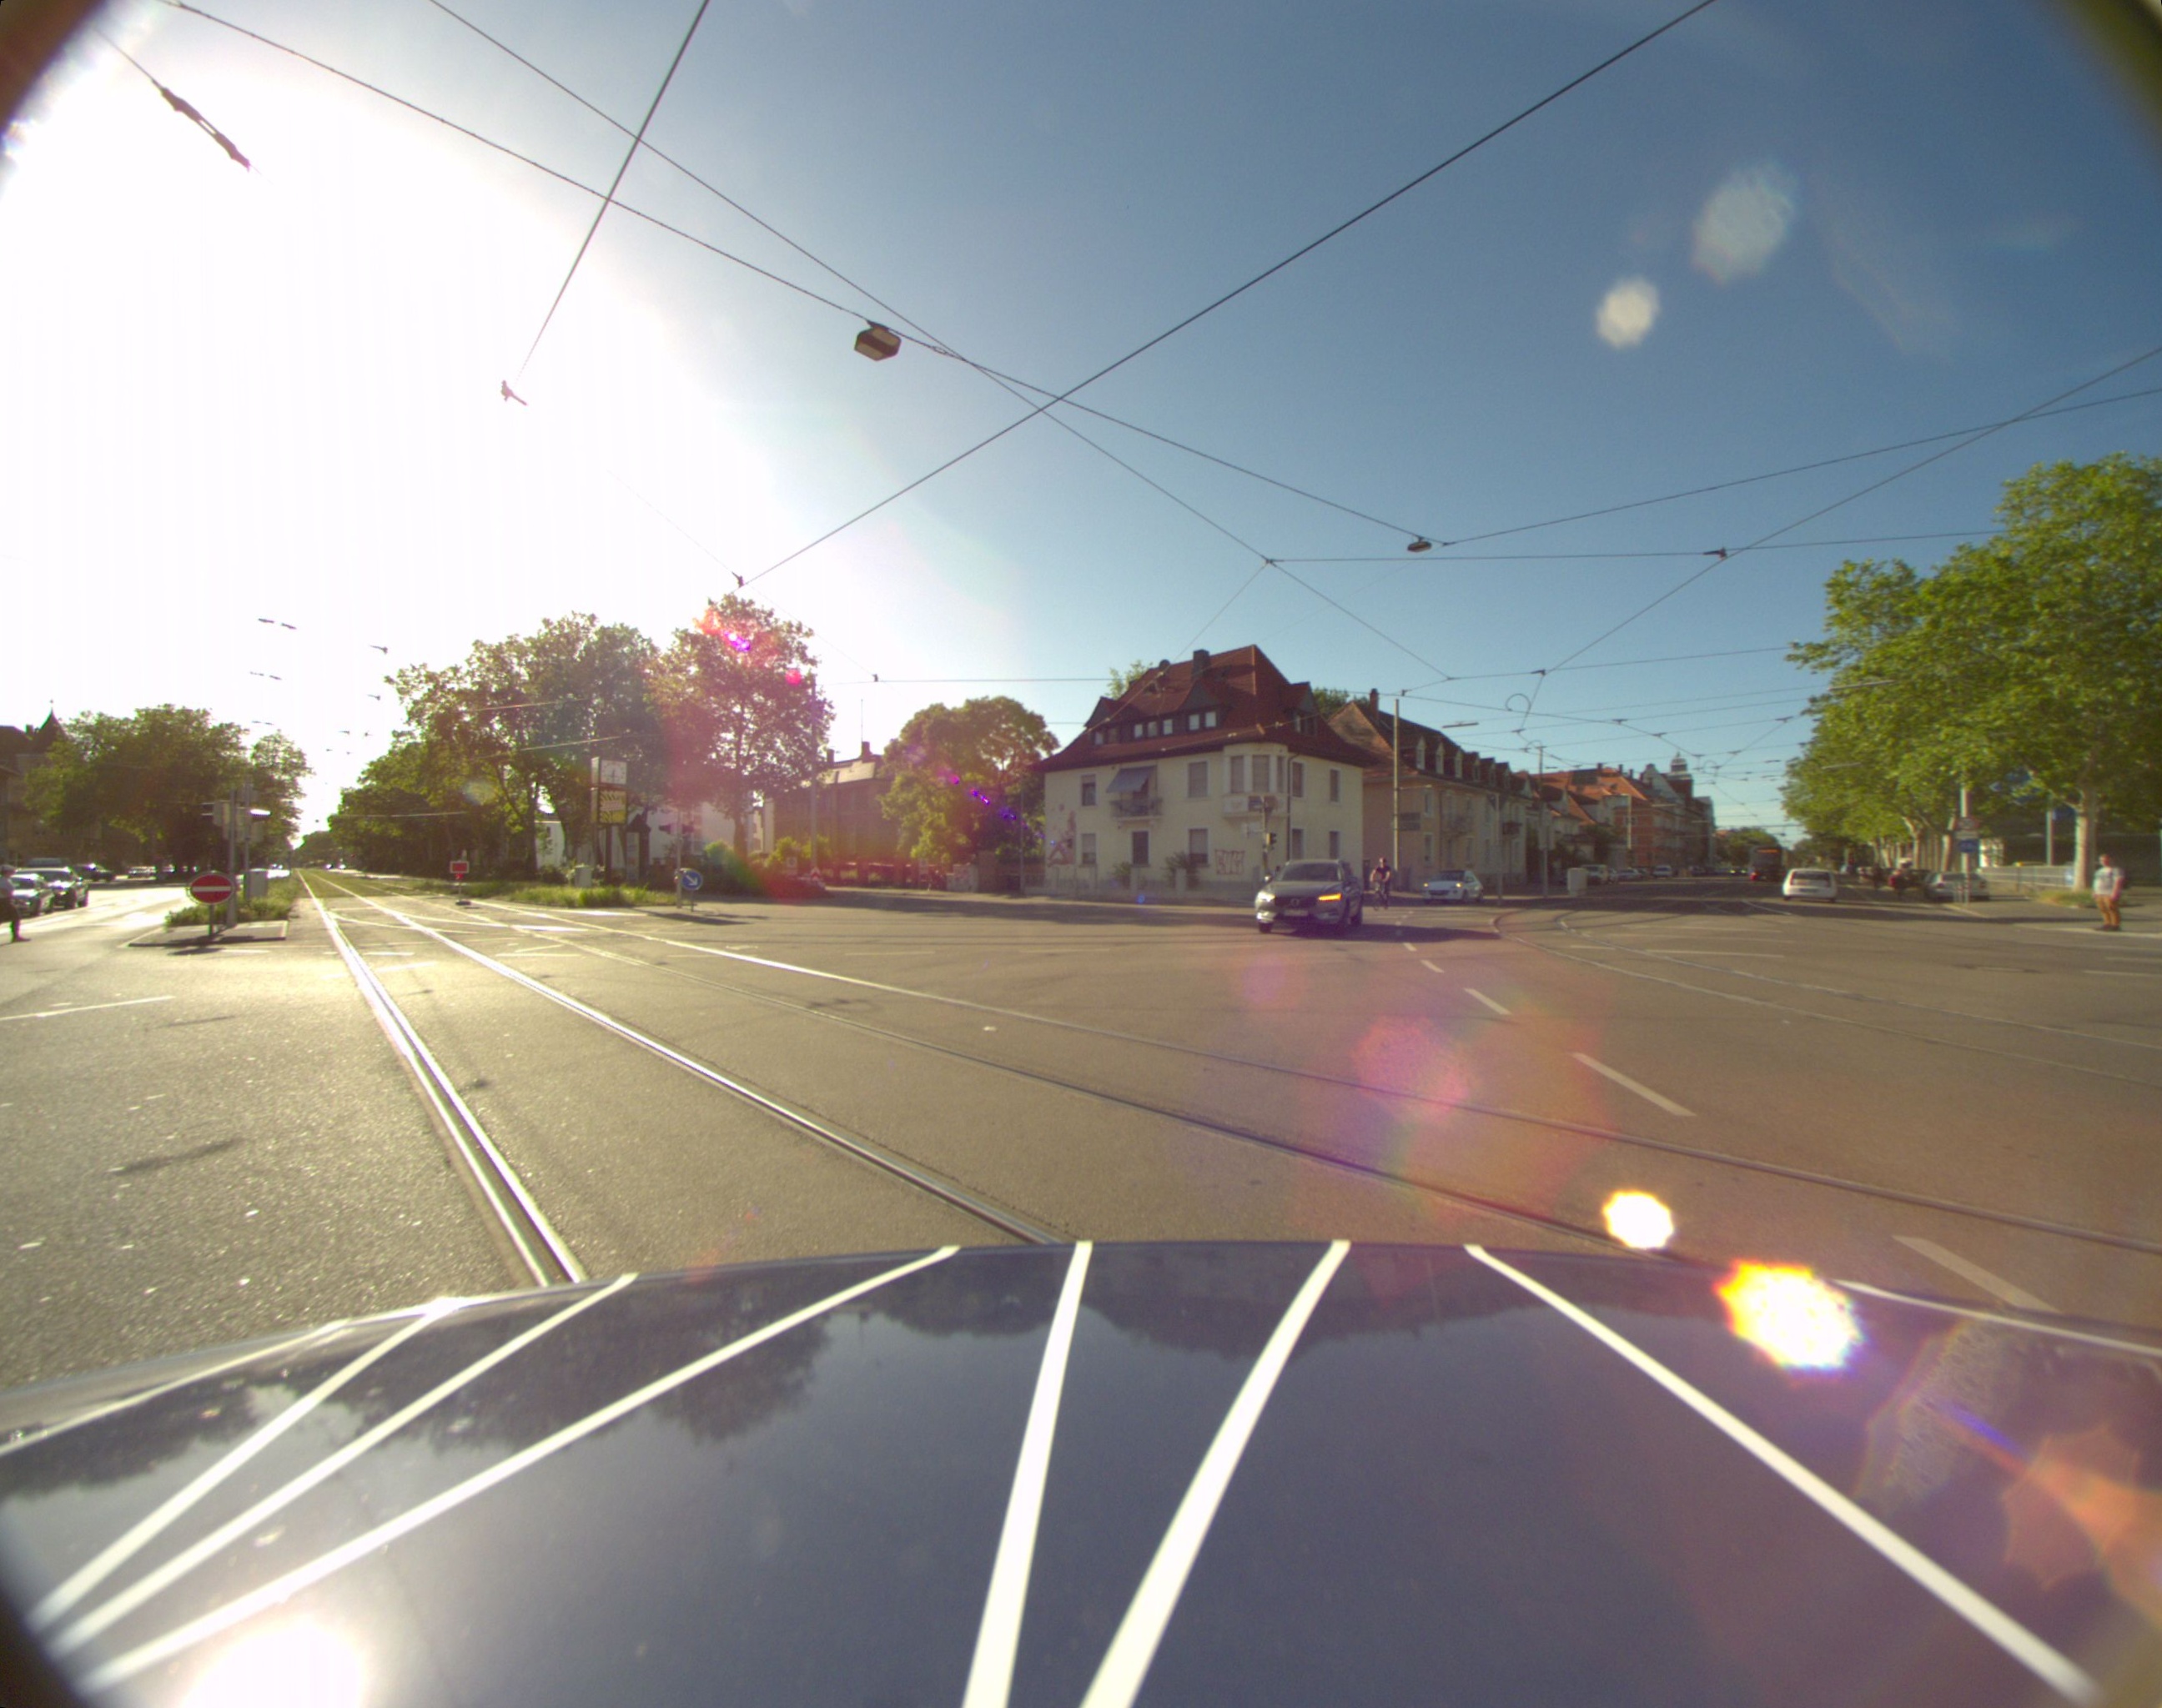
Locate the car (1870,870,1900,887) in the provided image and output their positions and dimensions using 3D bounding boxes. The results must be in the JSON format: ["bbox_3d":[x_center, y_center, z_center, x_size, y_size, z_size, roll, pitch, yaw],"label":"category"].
[{"bbox_3d":[78.073,2.371,73.824,4.009,1.566,1.878,1,0,-44],"label":"car"}]

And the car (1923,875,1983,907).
[{"bbox_3d":[41.889,1.758,36.557,3.546,1.416,1.776,1,-3,-42],"label":"car"}]

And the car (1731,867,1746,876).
[{"bbox_3d":[110.866,2.980,128.111,1.878,1.477,4.009,0,0,43],"label":"car"}]

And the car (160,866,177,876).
[{"bbox_3d":[-167.872,3.146,139.825,3.988,1.821,1.959,0,0,40],"label":"car"}]

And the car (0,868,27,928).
[{"bbox_3d":[-32.037,1.240,21.565,3.988,1.658,1.959,0,0,44],"label":"car"}]

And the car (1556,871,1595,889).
[{"bbox_3d":[43.290,2.242,66.477,4.009,1.477,1.878,1,0,-42],"label":"car"}]

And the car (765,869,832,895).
[{"bbox_3d":[-17.245,1.662,46.229,4.489,1.445,1.923,0,0,41],"label":"car"}]

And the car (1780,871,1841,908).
[{"bbox_3d":[32.352,1.534,33.779,1.718,1.488,3.591,0,0,40],"label":"car"}]

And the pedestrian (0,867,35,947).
[{"bbox_3d":[-23.000,1.120,16.107,0.715,1.659,0.941,0,0,38],"label":"pedestrian"}]

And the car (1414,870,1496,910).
[{"bbox_3d":[16.688,1.543,33.804,1.913,1.621,4.513,0,0,45],"label":"car"}]

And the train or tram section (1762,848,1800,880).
[{"bbox_3d":[84.860,1.183,92.057,3.056,3.591,12.141,0,0,44],"label":"train or tram section"}]

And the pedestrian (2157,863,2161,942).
[{"bbox_3d":[24.754,1.094,16.932,0.742,1.790,0.741,0,0,-21],"label":"pedestrian"}]

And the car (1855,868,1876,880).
[{"bbox_3d":[101.876,2.569,98.649,4.009,1.542,1.878,1,0,-44],"label":"car"}]

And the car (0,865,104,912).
[{"bbox_3d":[-40.116,1.266,29.654,4.474,1.658,1.959,0,0,44],"label":"car"}]

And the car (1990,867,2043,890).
[{"bbox_3d":[62.727,1.604,50.991,4.009,1.477,1.878,1,0,-44],"label":"car"}]

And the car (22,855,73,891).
[{"bbox_3d":[-88.042,1.556,64.798,5.941,2.891,2.207,0,0,40],"label":"car"}]

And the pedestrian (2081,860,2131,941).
[{"bbox_3d":[24.853,1.097,18.438,0.629,1.914,0.585,0,0,44],"label":"pedestrian"}]

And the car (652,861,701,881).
[{"bbox_3d":[-32.281,1.324,60.601,4.489,1.445,1.923,0,0,41],"label":"car"}]

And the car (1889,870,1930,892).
[{"bbox_3d":[60.465,1.945,55.475,4.009,1.477,1.878,1,0,-44],"label":"car"}]

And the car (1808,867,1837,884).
[{"bbox_3d":[71.118,2.045,72.867,4.009,1.477,1.878,1,0,-44],"label":"car"}]

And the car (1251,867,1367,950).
[{"bbox_3d":[5.457,1.140,17.788,1.914,1.621,4.511,0,0,26],"label":"car"}]

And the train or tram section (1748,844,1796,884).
[{"bbox_3d":[67.750,0.980,74.395,3.056,3.591,12.141,0,0,44],"label":"train or tram section"}]

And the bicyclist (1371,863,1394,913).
[{"bbox_3d":[10.614,1.176,26.721,0.599,1.709,0.664,1,0,35],"label":"bicyclist"}]

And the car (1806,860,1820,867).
[{"bbox_3d":[148.381,1.968,154.052,4.009,1.477,1.878,1,0,-44],"label":"car"}]

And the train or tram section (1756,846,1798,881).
[{"bbox_3d":[76.327,1.058,83.255,3.056,3.591,12.530,0,0,44],"label":"train or tram section"}]

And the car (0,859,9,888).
[{"bbox_3d":[-71.035,1.268,48.707,4.789,1.850,1.959,0,0,44],"label":"car"}]

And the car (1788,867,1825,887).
[{"bbox_3d":[55.995,1.756,58.628,4.009,1.477,1.878,1,0,-44],"label":"car"}]

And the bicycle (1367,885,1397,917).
[{"bbox_3d":[10.610,1.634,26.735,0.599,1.050,1.994,0,0,33],"label":"bicycle"}]

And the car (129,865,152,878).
[{"bbox_3d":[-130.895,2.425,105.738,3.988,1.821,1.959,0,0,40],"label":"car"}]

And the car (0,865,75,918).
[{"bbox_3d":[-35.870,1.210,25.575,3.988,1.658,1.959,0,0,44],"label":"car"}]

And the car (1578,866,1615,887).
[{"bbox_3d":[47.857,2.026,70.498,1.928,1.834,5.325,0,0,45],"label":"car"}]

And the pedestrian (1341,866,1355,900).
[{"bbox_3d":[13.839,1.517,39.398,0.601,1.750,0.488,0,0,28],"label":"pedestrian"}]

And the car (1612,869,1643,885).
[{"bbox_3d":[60.388,2.505,83.925,1.928,1.750,5.325,0,0,45],"label":"car"}]

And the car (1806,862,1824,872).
[{"bbox_3d":[117.763,2.088,121.902,4.009,1.477,1.878,1,0,-44],"label":"car"}]

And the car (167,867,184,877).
[{"bbox_3d":[-159.431,3.162,133.768,3.988,1.821,1.959,0,0,40],"label":"car"}]

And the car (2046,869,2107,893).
[{"bbox_3d":[63.761,1.690,48.725,4.009,1.477,1.878,1,0,-44],"label":"car"}]

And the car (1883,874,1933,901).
[{"bbox_3d":[45.701,1.839,41.967,3.318,1.416,1.776,1,-3,-42],"label":"car"}]

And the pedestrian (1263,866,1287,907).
[{"bbox_3d":[8.521,1.442,33.406,0.674,1.731,0.688,2,3,-12],"label":"pedestrian"}]

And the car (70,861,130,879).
[{"bbox_3d":[-117.182,1.925,90.801,4.007,2.083,1.950,1,0,-33],"label":"car"}]

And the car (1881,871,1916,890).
[{"bbox_3d":[66.994,2.146,62.323,4.009,1.477,1.878,1,0,-44],"label":"car"}]
